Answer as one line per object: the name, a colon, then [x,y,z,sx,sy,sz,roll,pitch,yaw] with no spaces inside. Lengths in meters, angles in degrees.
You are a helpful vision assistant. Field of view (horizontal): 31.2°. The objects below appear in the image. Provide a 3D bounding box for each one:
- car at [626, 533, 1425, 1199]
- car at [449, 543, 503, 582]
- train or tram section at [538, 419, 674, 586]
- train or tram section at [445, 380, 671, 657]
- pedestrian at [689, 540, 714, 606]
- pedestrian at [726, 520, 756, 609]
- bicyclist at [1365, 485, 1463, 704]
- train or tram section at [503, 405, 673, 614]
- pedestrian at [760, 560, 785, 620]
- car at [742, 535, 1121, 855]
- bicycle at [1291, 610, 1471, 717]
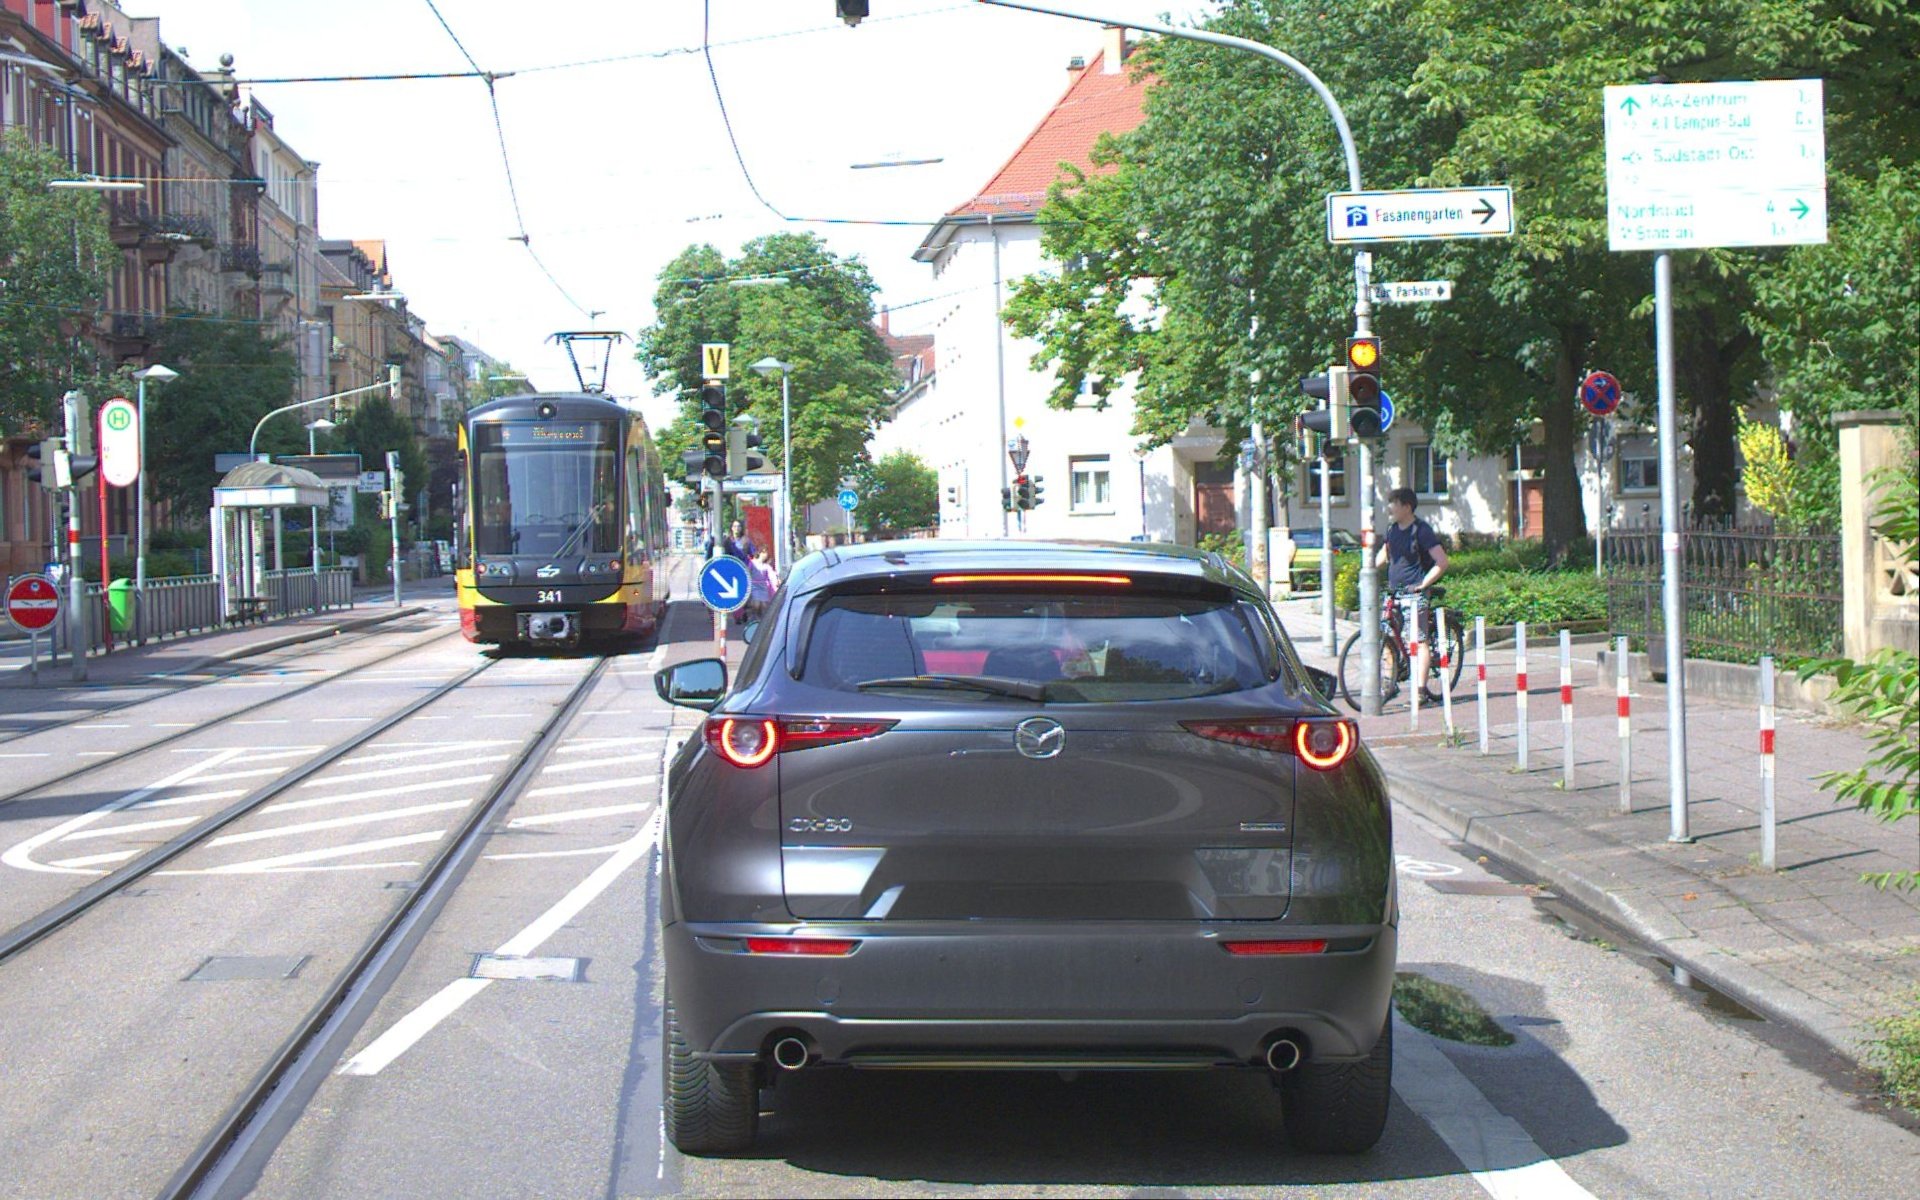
car: [0.111,0.573,9.738,1.778,1.494,4.000,1,1,-1]
car: [-16.879,-1.329,119.991,1.614,1.305,3.628,-1,1,-4]
train or tram section: [-8.074,-2.313,79.770,2.752,3.478,14.411,-1,2,-5]
train or tram section: [-5.728,-1.295,51.064,2.752,3.478,14.411,-1,2,-5]
pedestrian: [-4.237,-0.443,56.315,0.379,1.067,0.474,-1,1,-5]
pedestrian: [-3.574,-0.581,56.136,0.450,1.429,0.474,-1,1,-5]
bicyclist: [3.764,-0.051,28.530,0.608,1.786,0.658,-1,1,-10]
train or tram section: [-6.896,-1.785,65.442,2.752,3.478,14.411,-1,2,-5]
pedestrian: [-3.070,-0.166,56.318,0.379,0.981,0.474,-1,1,-5]
car: [-0.172,0.415,18.343,1.778,1.494,4.000,1,1,-1]
bicycle: [3.546,0.520,28.893,1.694,0.821,0.494,-2,1,-42]
